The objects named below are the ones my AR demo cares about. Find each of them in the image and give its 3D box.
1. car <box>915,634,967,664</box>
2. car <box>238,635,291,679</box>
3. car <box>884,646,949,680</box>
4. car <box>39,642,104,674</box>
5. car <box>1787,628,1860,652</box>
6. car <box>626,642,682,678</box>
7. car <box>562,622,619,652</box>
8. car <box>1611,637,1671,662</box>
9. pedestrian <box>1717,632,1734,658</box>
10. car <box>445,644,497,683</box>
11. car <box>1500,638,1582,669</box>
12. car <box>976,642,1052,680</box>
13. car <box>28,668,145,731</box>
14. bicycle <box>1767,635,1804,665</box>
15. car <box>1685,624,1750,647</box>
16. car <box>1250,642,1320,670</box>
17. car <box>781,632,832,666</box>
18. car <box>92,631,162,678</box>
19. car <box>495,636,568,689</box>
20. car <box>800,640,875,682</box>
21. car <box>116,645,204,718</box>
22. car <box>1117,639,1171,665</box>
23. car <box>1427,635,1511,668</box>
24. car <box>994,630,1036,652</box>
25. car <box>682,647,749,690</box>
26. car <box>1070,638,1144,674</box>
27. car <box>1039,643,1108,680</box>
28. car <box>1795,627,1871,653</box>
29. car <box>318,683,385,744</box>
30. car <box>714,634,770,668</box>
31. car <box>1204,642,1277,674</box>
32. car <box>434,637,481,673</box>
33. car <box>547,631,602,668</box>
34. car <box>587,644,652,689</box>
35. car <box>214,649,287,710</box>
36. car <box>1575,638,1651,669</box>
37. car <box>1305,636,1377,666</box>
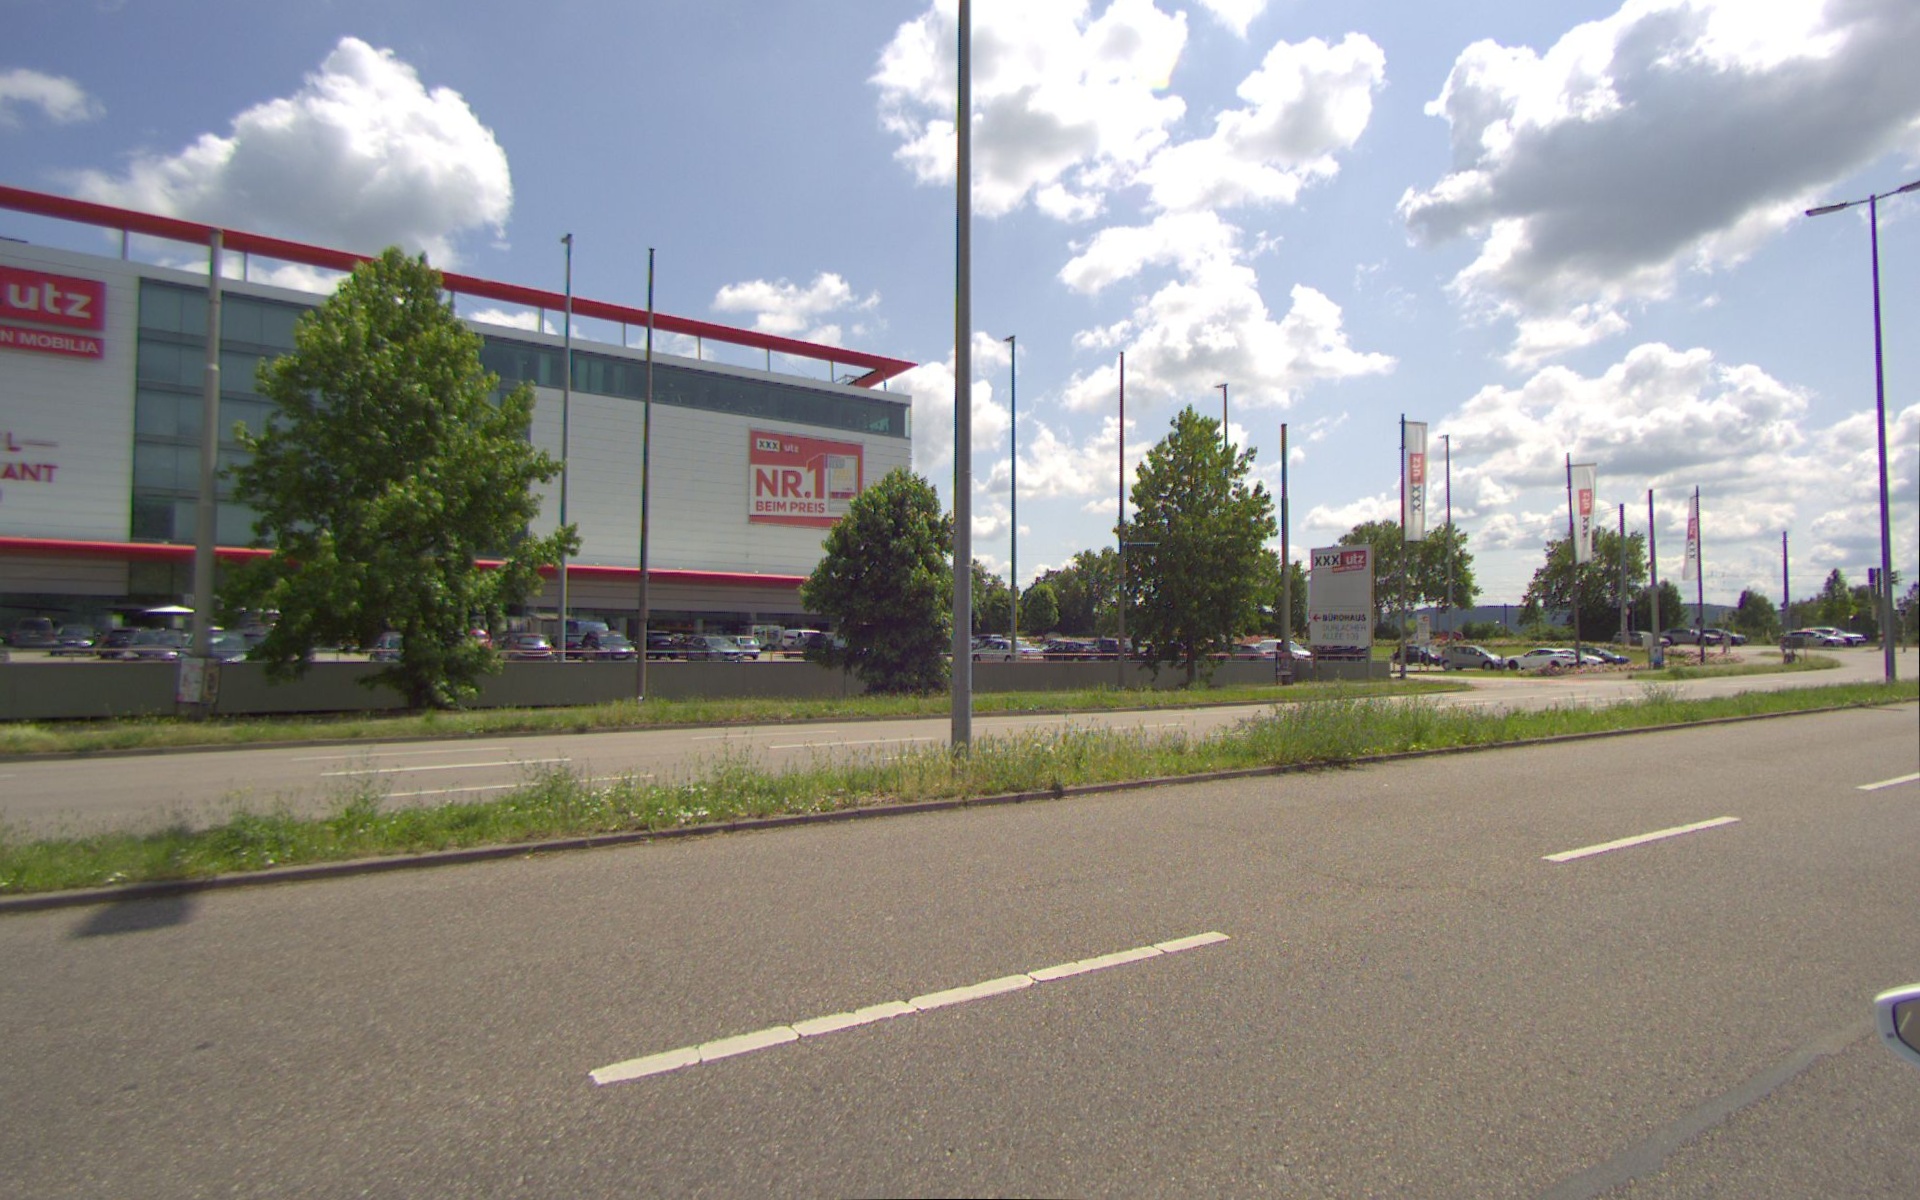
[{"bbox_3d":[-1.357,3.450,70.699,1.759,2.040,3.963,1,-3,-34],"label":"car"},{"bbox_3d":[-33.524,2.722,48.485,1.979,2.015,4.323,1,-3,-34],"label":"car"},{"bbox_3d":[-2.566,3.645,58.322,1.759,1.854,4.323,1,-3,-34],"label":"car"},{"bbox_3d":[-42.749,2.797,48.429,1.662,1.489,3.802,1,-3,-31],"label":"car"},{"bbox_3d":[73.955,3.442,86.093,1.979,2.015,4.323,1,-3,-34],"label":"car"},{"bbox_3d":[-17.993,3.500,58.937,1.979,2.015,4.323,1,-3,-34],"label":"car"},{"bbox_3d":[-23.154,2.339,62.850,2.177,1.802,5.086,1,-3,-35],"label":"car"},{"bbox_3d":[59.352,4.340,87.611,1.968,2.040,3.987,0,-3,-17],"label":"car"},{"bbox_3d":[57.098,3.355,74.939,0.851,1.862,0.797,1,-1,28],"label":"pedestrian"},{"bbox_3d":[-26.658,3.421,54.679,1.979,2.015,4.323,1,-3,-34],"label":"car"},{"bbox_3d":[38.672,3.579,66.948,1.979,2.015,4.323,1,-3,-34],"label":"car"},{"bbox_3d":[2.898,3.329,55.062,1.979,2.015,4.323,1,-3,-34],"label":"car"},{"bbox_3d":[-25.182,2.820,29.111,1.824,1.616,3.969,1,-3,-30],"label":"car"},{"bbox_3d":[47.278,2.847,57.519,2.027,1.697,1.012,1,-3,-34],"label":"bicycle"},{"bbox_3d":[69.747,3.294,92.514,1.979,2.015,4.323,1,-3,-34],"label":"car"},{"bbox_3d":[22.402,3.838,69.346,1.979,1.863,4.323,1,-3,-34],"label":"car"},{"bbox_3d":[-10.919,3.491,71.343,1.851,2.336,4.529,1,-3,-34],"label":"car"},{"bbox_3d":[-37.895,2.473,45.785,1.979,2.015,4.323,1,-3,-34],"label":"car"},{"bbox_3d":[-17.741,2.574,41.485,1.979,2.015,4.323,0,-2,-34],"label":"car"},{"bbox_3d":[-6.126,3.014,49.854,1.979,2.015,4.323,1,-3,-34],"label":"car"},{"bbox_3d":[-27.591,2.757,34.792,1.979,2.359,4.323,1,-3,-34],"label":"car"},{"bbox_3d":[14.837,4.202,81.215,1.979,2.015,4.049,1,-3,-34],"label":"car"},{"bbox_3d":[32.096,3.274,63.450,1.979,2.015,4.323,1,-3,-34],"label":"car"},{"bbox_3d":[5.086,3.850,93.382,1.978,2.015,4.052,1,-3,-32],"label":"car"},{"bbox_3d":[-12.465,3.439,51.074,1.979,2.076,4.323,1,-3,-34],"label":"car"},{"bbox_3d":[8.606,3.284,59.268,1.979,2.015,4.322,1,-2,-34],"label":"car"},{"bbox_3d":[6.520,3.536,58.069,1.824,2.015,4.046,2,-2,-34],"label":"car"},{"bbox_3d":[72.216,3.342,83.160,1.979,2.015,4.323,1,-3,-34],"label":"car"},{"bbox_3d":[-22.941,4.208,37.793,1.979,2.040,3.964,1,-3,-34],"label":"car"},{"bbox_3d":[-13.615,3.160,62.552,1.979,2.015,4.323,1,-3,-34],"label":"car"},{"bbox_3d":[18.222,3.784,65.391,1.979,2.015,4.323,1,-3,-34],"label":"car"},{"bbox_3d":[-29.482,3.249,58.866,1.979,2.015,4.323,1,-3,-34],"label":"car"},{"bbox_3d":[-21.826,2.806,56.776,1.979,2.015,4.323,1,-3,-34],"label":"car"},{"bbox_3d":[-16.650,3.223,48.971,1.971,2.069,4.261,1,-3,-34],"label":"car"},{"bbox_3d":[-25.187,2.785,35.760,1.979,2.040,3.964,1,-3,-34],"label":"car"},{"bbox_3d":[44.373,3.607,68.277,1.987,2.040,3.949,2,-4,-44],"label":"car"},{"bbox_3d":[27.124,3.605,71.615,1.980,2.015,4.554,2,-3,-34],"label":"car"}]
